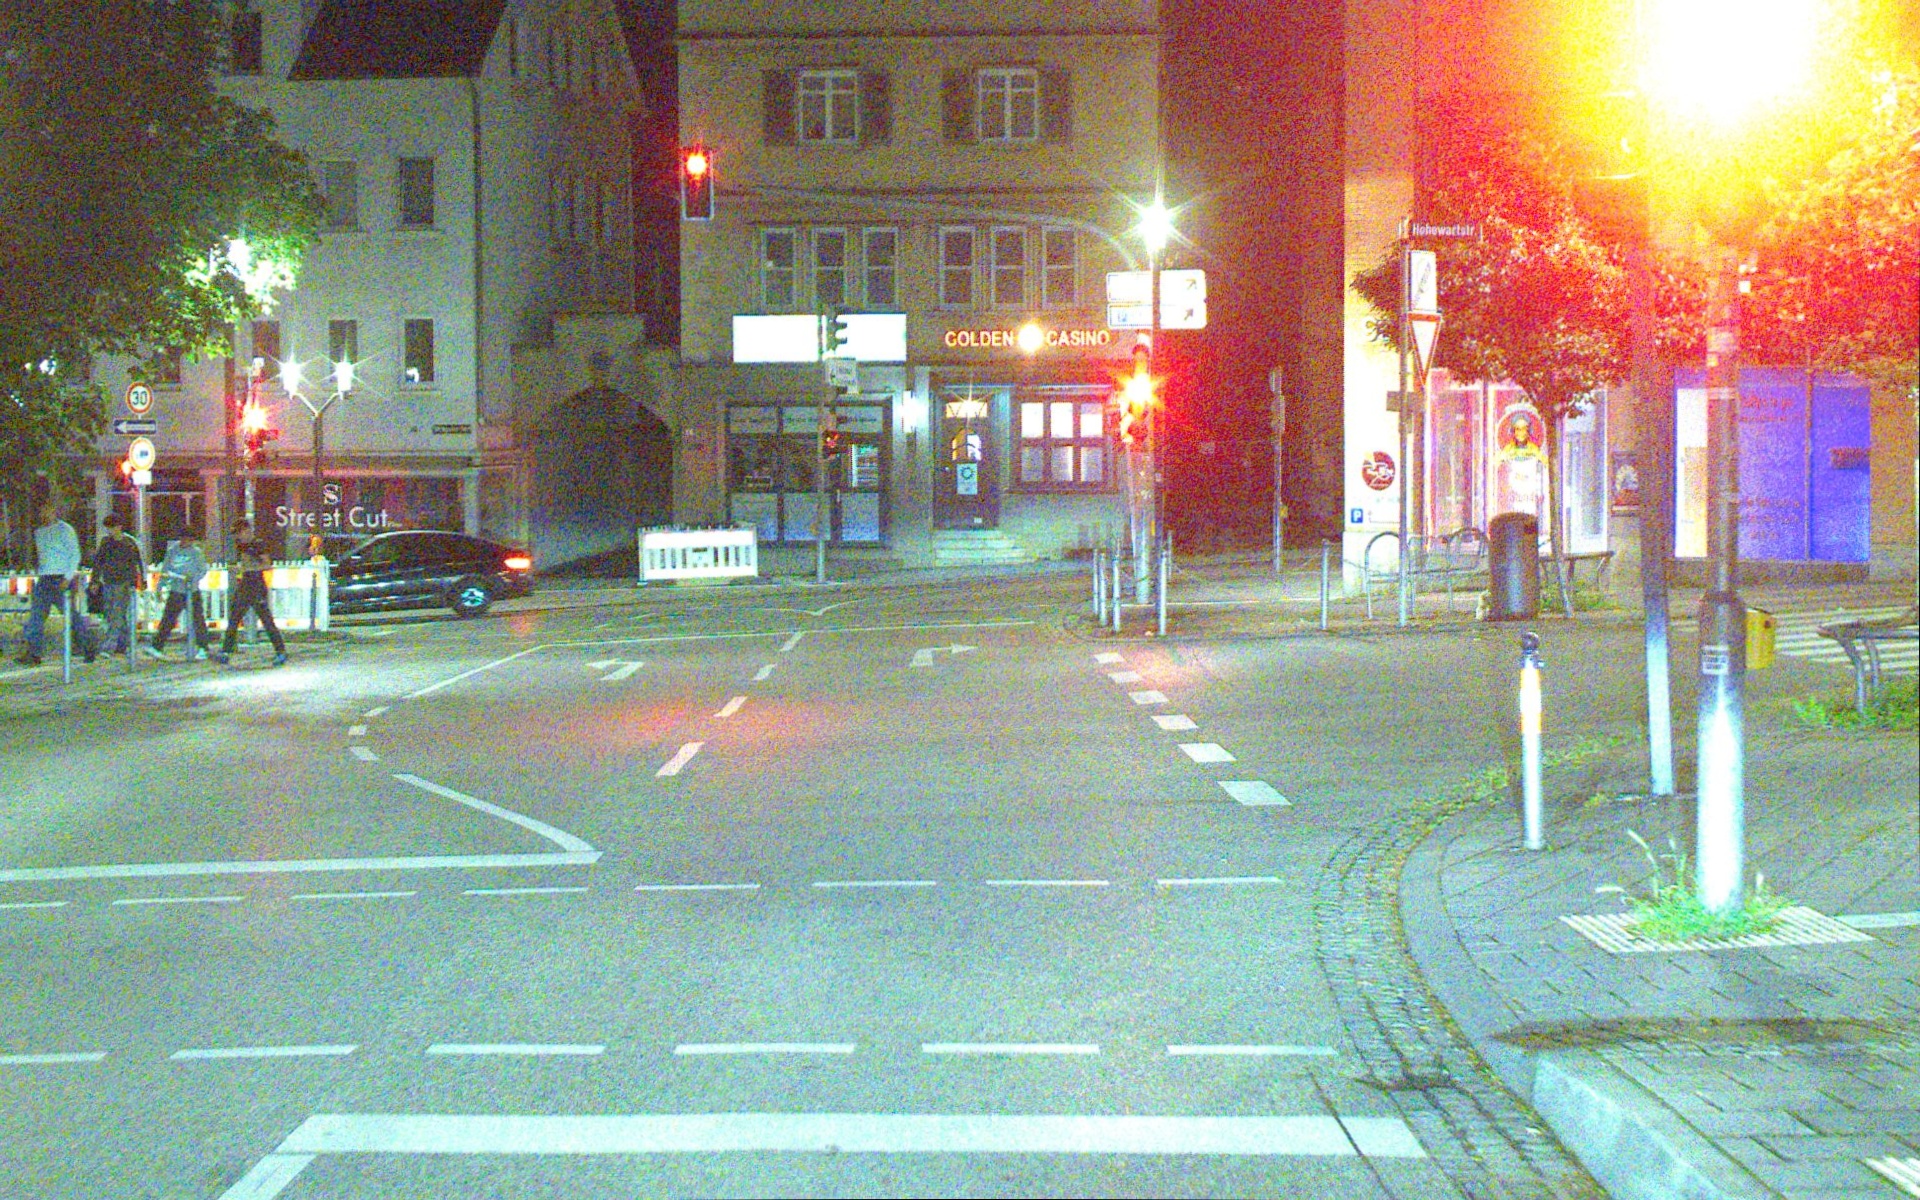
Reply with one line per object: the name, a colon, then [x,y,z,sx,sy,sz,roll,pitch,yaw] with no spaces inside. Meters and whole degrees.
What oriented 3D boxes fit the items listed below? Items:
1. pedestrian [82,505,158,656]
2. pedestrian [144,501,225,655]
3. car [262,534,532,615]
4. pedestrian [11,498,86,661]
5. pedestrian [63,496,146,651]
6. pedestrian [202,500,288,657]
pedestrian: [-10.064,-0.233,41.201,0.716,1.789,0.569,1,0,7]
pedestrian: [-9.126,-0.258,40.448,0.717,1.789,0.568,0,0,33]
car: [-9.542,-0.414,58.172,4.416,1.293,1.642,1,0,-12]
pedestrian: [-10.111,-0.227,38.144,0.715,1.789,0.569,1,0,-8]
pedestrian: [-9.947,-0.309,39.993,0.717,1.789,0.569,0,0,23]
pedestrian: [-8.289,-0.246,39.866,0.735,1.789,0.718,1,0,-34]
